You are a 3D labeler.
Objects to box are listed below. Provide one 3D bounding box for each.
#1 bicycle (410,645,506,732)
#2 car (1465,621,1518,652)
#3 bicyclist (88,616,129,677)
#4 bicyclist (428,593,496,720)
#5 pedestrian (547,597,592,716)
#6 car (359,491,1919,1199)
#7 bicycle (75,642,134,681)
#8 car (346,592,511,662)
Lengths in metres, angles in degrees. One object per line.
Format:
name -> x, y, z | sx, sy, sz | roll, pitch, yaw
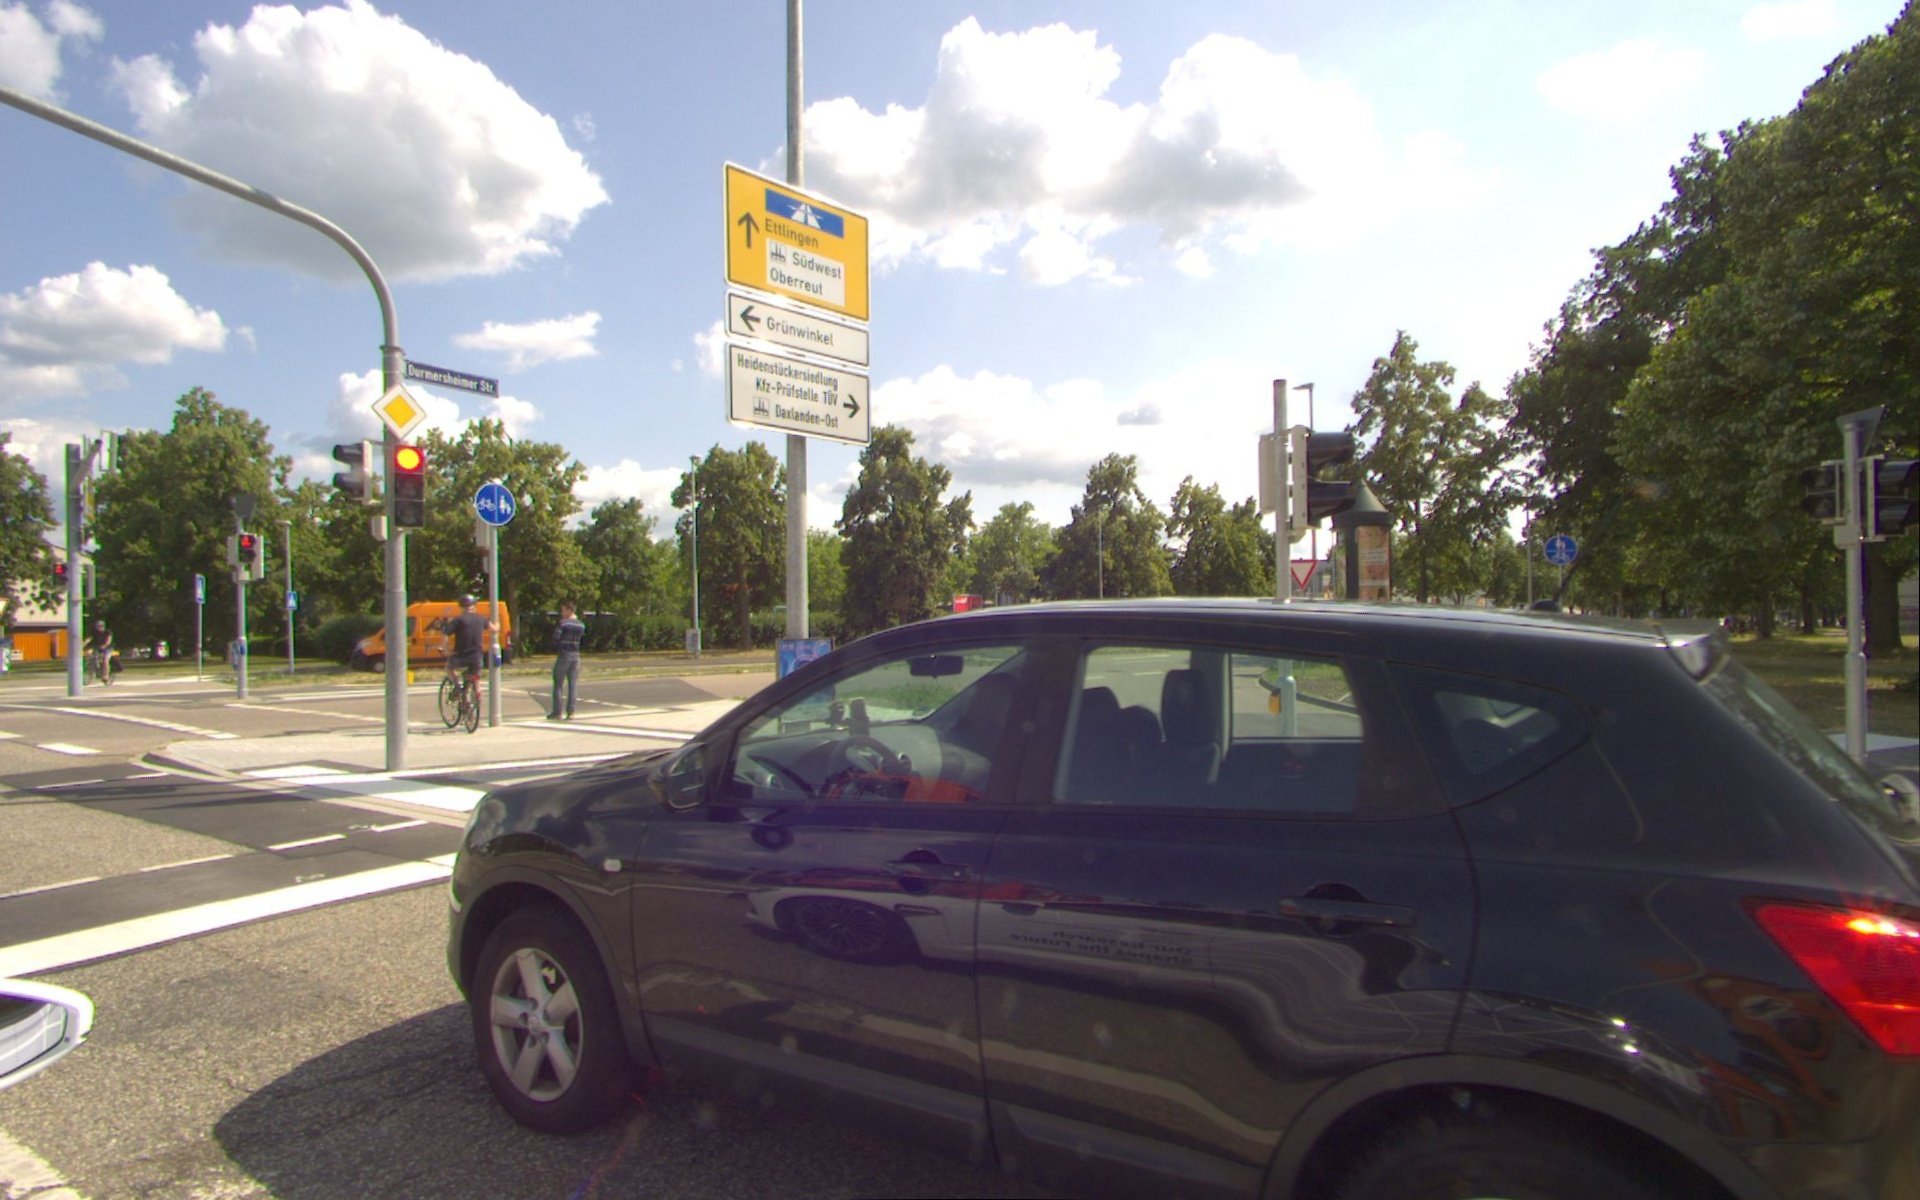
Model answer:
bicycle -> -6.982, 1.204, 13.889 | 0.644, 1.121, 1.910 | 3, -4, -43
car -> 22.755, 1.589, 42.936 | 1.886, 1.192, 3.767 | -1, -4, 28
bicyclist -> -25.792, 1.405, 30.342 | 0.674, 1.827, 0.787 | 0, -1, -19
bicyclist -> -6.846, 0.780, 13.766 | 0.644, 1.682, 0.644 | 3, -4, -44
pedestrian -> -6.054, 0.870, 15.524 | 0.477, 1.800, 0.462 | -2, -3, 42
car -> 0.187, 0.735, 3.063 | 3.941, 1.571, 1.798 | -2, -4, 31
bicycle -> -25.722, 1.823, 30.145 | 0.674, 1.107, 1.999 | 0, -2, -19
car -> -18.224, 0.994, 34.653 | 4.780, 2.253, 2.207 | 2, -3, -22
